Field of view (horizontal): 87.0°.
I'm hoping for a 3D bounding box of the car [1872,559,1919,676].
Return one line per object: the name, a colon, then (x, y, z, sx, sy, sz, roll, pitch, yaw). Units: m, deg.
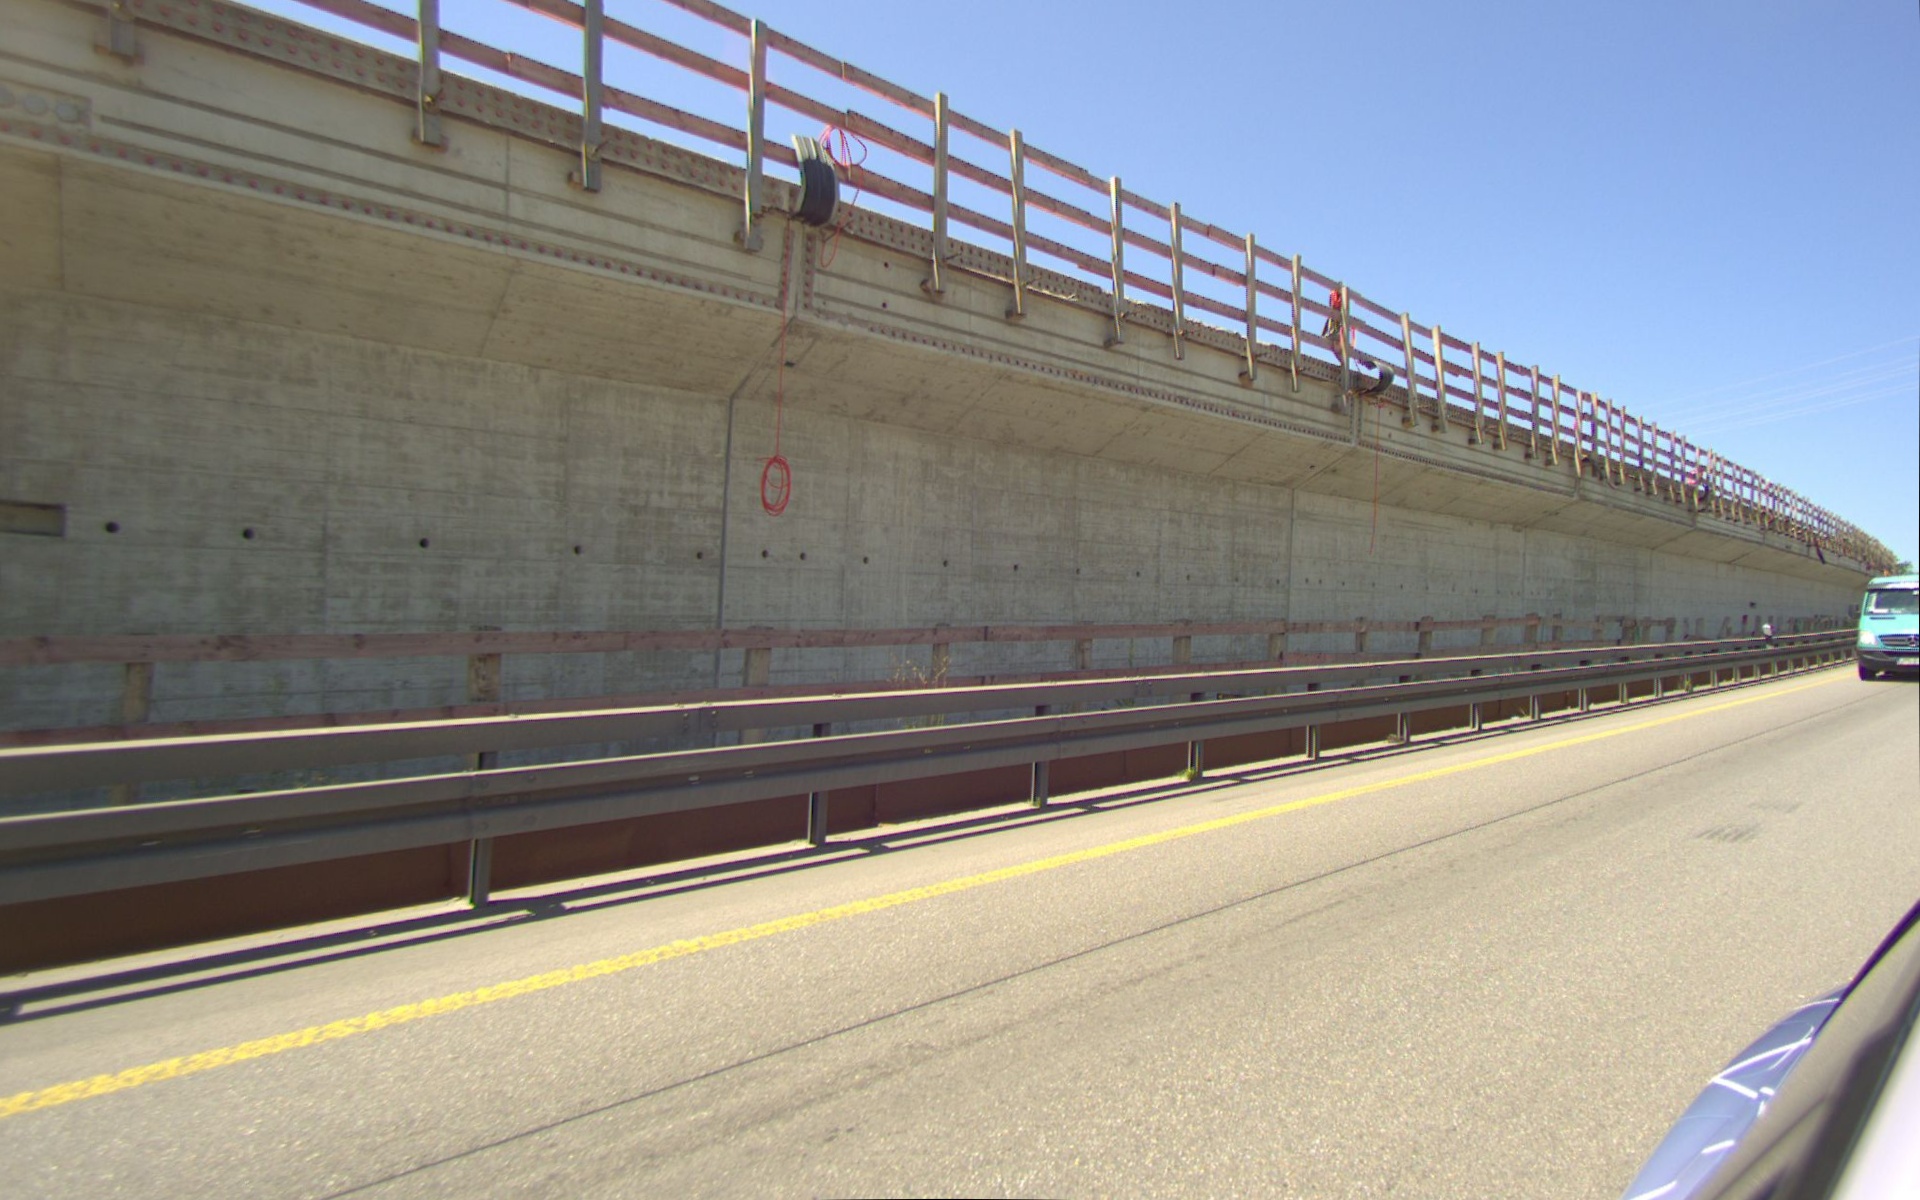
car: (22.602, 0.360, 23.058, 7.086, 2.411, 1.965, 0, -2, -42)
